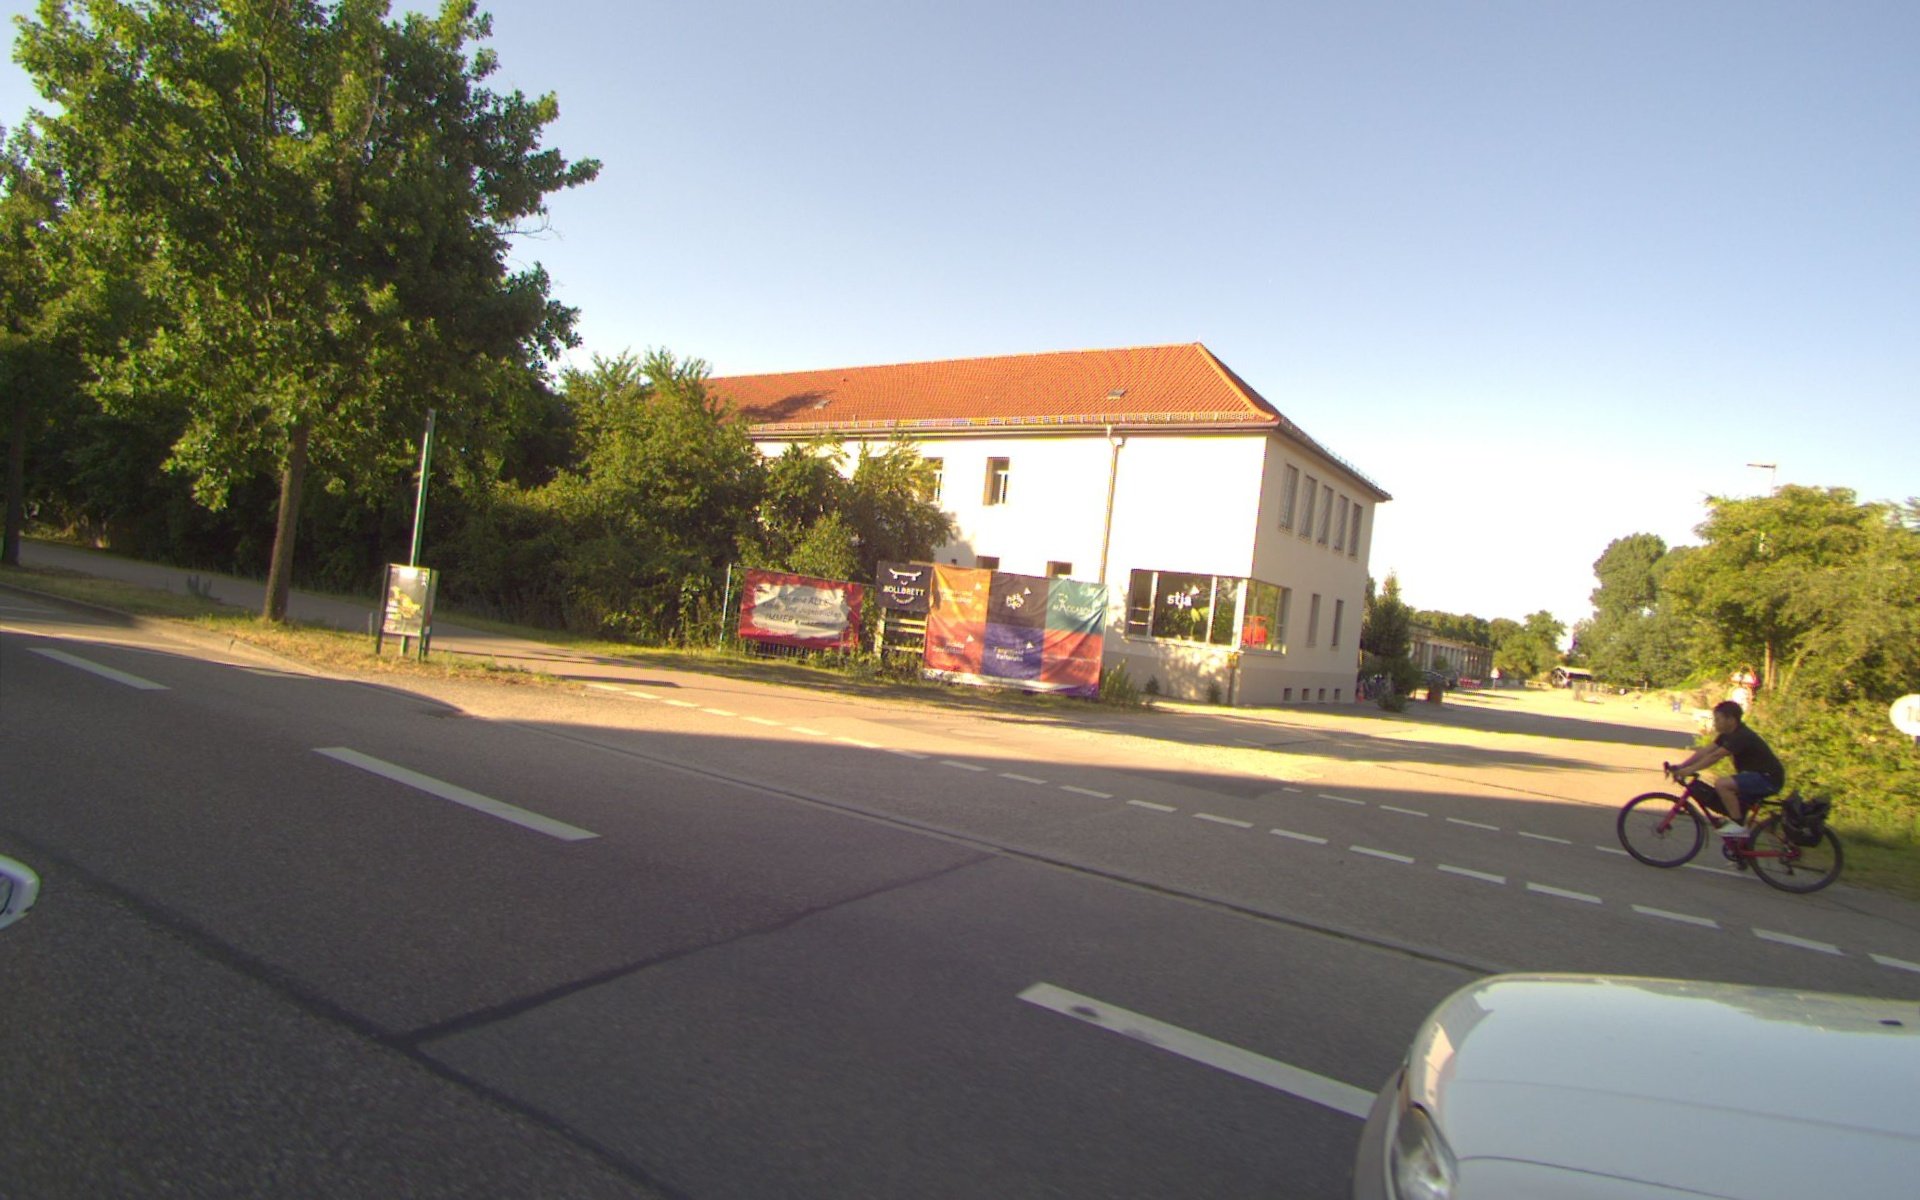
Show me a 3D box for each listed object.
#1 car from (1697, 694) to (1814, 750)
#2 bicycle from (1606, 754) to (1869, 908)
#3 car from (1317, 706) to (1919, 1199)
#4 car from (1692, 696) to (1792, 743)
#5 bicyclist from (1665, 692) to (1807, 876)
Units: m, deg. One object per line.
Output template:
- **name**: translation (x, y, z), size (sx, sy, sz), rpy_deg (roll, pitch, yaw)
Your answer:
- **car**: translation (36.280, 5.551, 46.028), size (3.824, 1.905, 1.885), rpy_deg (6, 0, 32)
- **bicycle**: translation (7.148, 2.098, 9.372), size (1.791, 0.986, 0.617), rpy_deg (6, 0, 32)
- **car**: translation (2.643, 1.164, 1.274), size (3.968, 1.414, 1.615), rpy_deg (7, -2, 29)
- **car**: translation (42.153, 6.430, 54.351), size (3.871, 1.905, 1.916), rpy_deg (6, 0, 32)
- **bicyclist**: translation (7.192, 1.672, 9.368), size (0.834, 1.520, 0.614), rpy_deg (7, 0, 31)
